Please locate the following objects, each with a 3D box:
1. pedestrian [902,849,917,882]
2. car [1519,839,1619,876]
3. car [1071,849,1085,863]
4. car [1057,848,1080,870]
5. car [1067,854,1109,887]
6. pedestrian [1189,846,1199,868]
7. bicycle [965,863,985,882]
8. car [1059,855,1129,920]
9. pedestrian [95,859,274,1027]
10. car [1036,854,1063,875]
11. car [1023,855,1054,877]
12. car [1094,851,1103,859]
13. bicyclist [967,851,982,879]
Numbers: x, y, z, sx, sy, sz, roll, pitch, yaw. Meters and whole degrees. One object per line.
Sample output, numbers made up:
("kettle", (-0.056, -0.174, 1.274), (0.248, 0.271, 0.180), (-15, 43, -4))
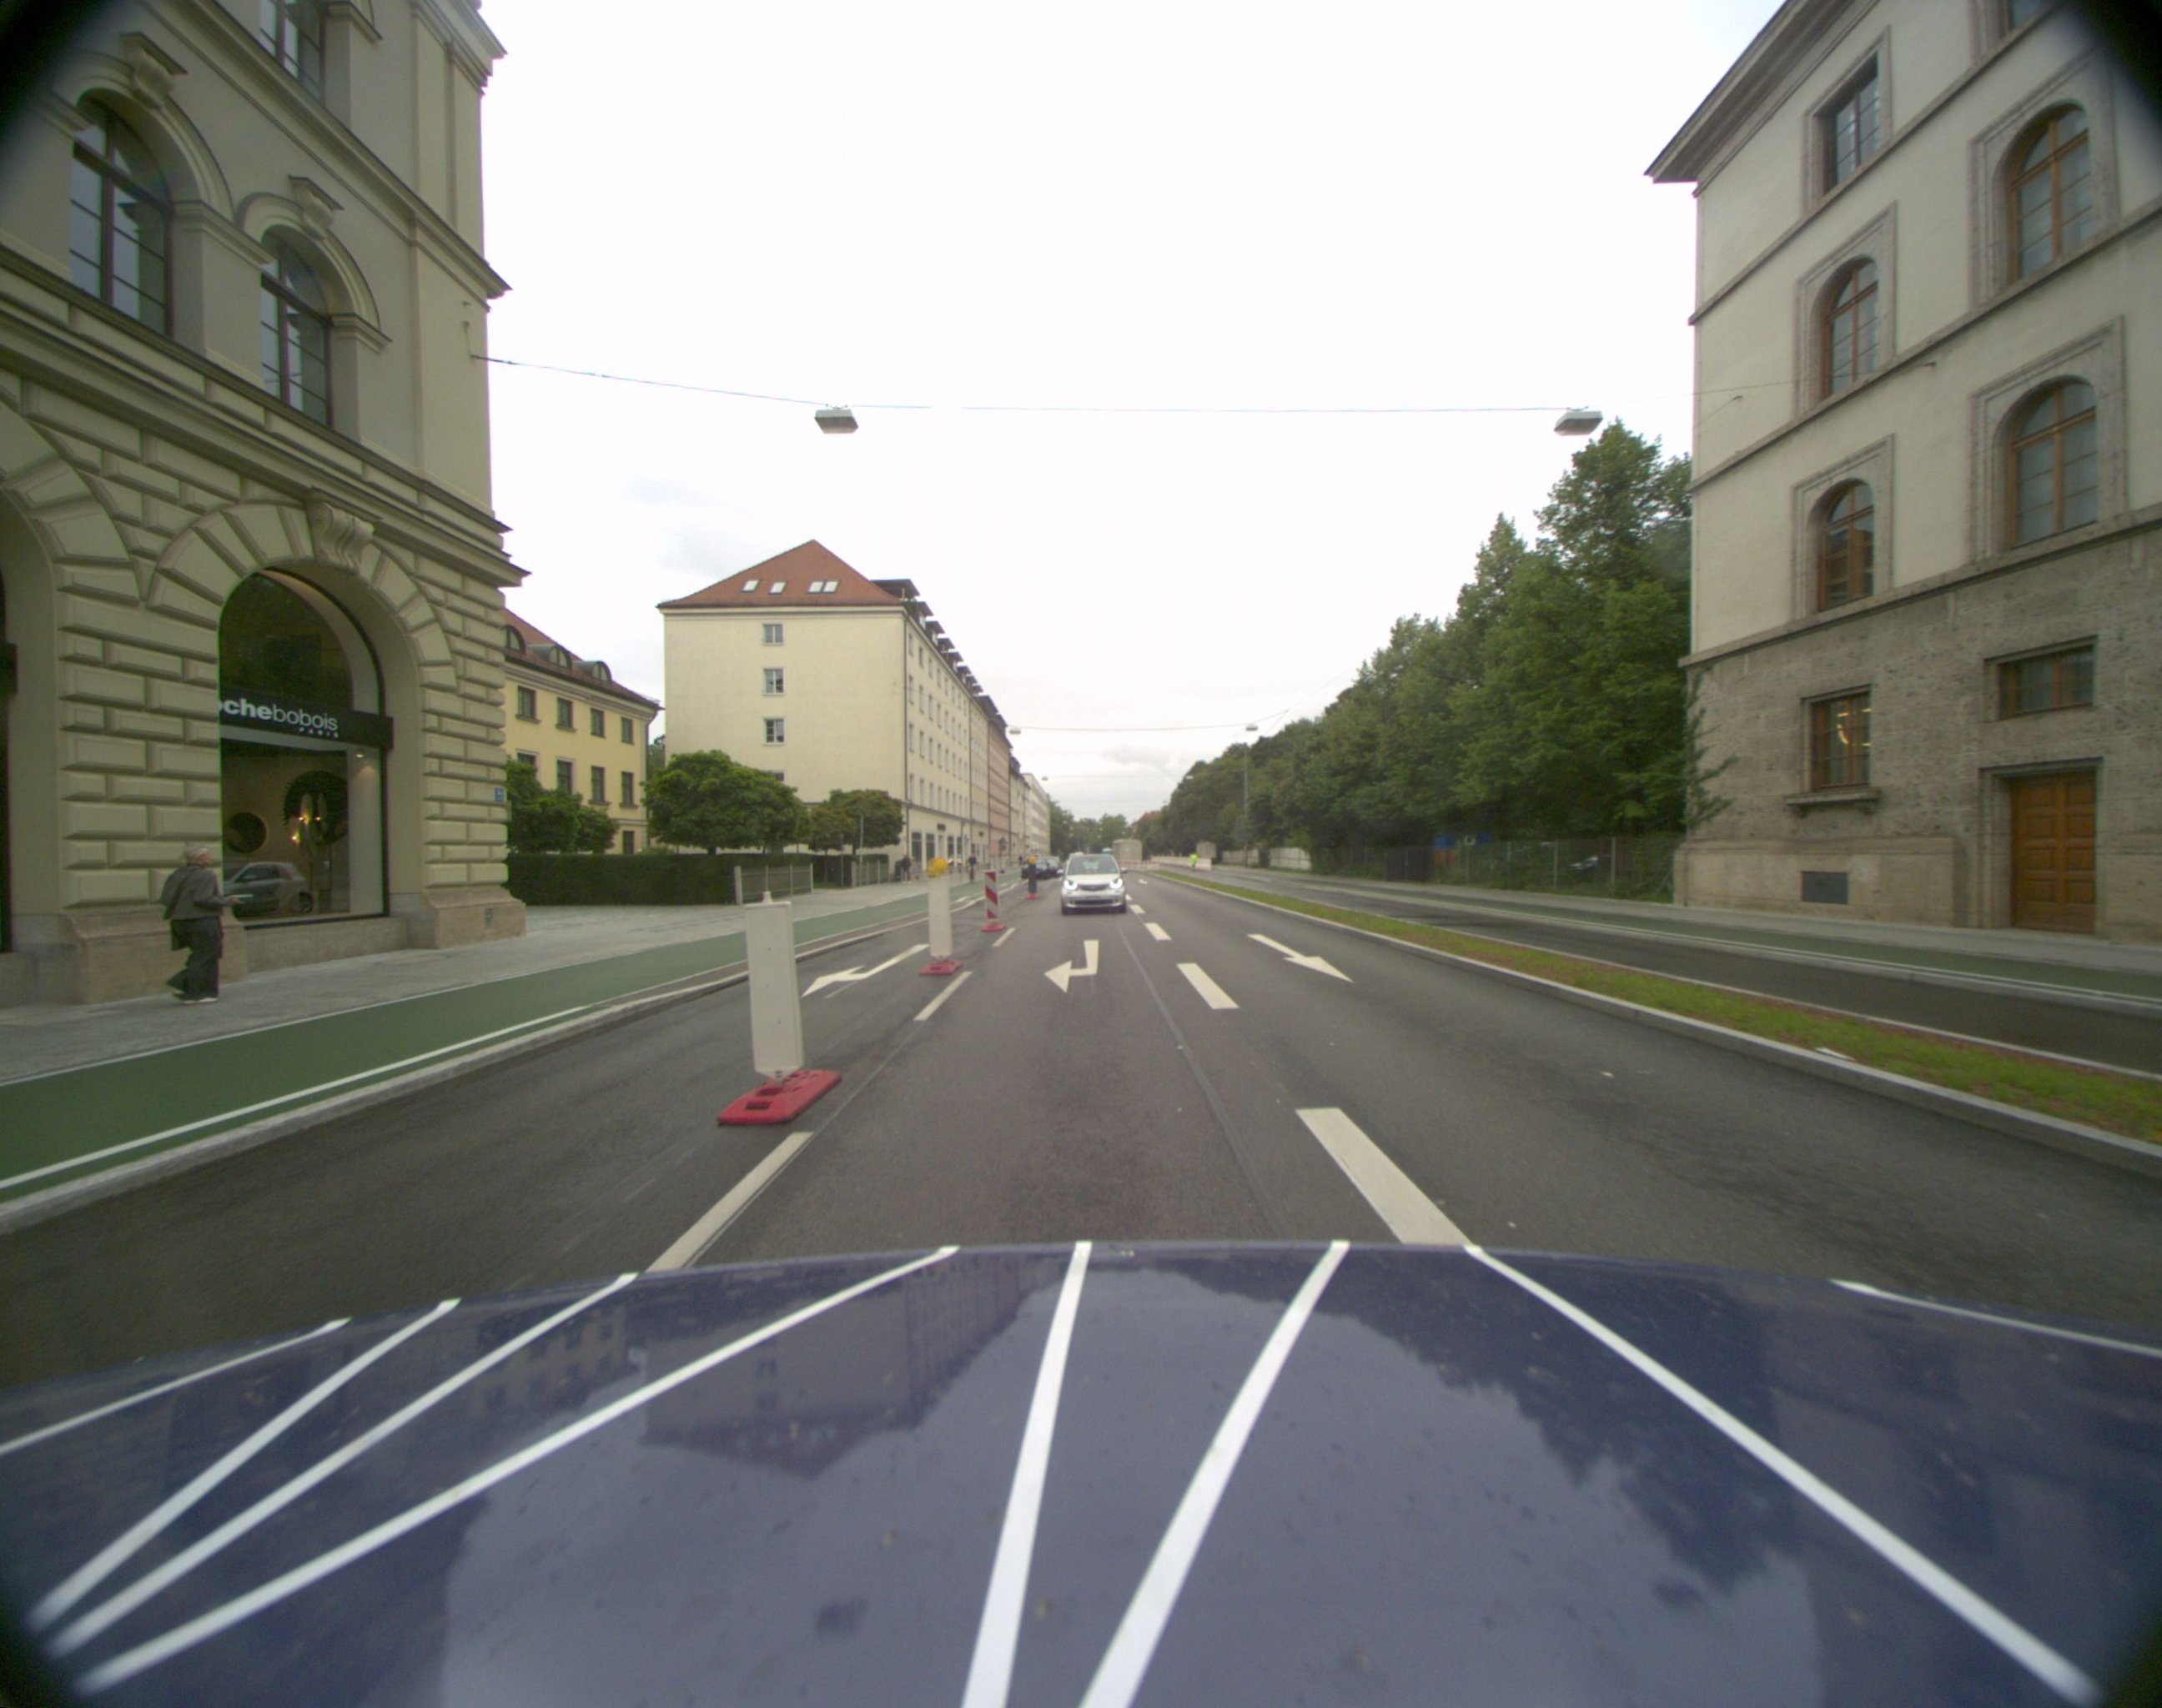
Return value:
("pedestrian", (-9.777, 0.640, 43.352), (0.655, 1.863, 0.826), (1, 1, 1))
("car", (25.447, 0.182, 39.733), (4.036, 1.700, 1.875), (-2, 3, 4))
("car", (-0.421, 0.305, 117.529), (1.998, 2.002, 4.000), (0, 0, 1))
("car", (-1.156, 0.482, 71.626), (1.998, 2.002, 4.000), (0, 0, 0))
("car", (0.341, 0.784, 37.924), (1.922, 1.433, 4.306), (-3, 0, 0))
("pedestrian", (10.685, 0.253, 71.708), (0.757, 2.002, 0.867), (-2, 1, 1))
("bicycle", (-6.159, 1.063, 44.126), (0.751, 1.026, 2.531), (-2, 0, 0))
("car", (0.344, 0.818, 20.201), (1.633, 1.494, 4.000), (-1, 0, 1))
("pedestrian", (-9.676, 0.911, 8.257), (0.634, 1.694, 1.085), (0, 1, 0))
("car", (-2.248, 0.753, 55.362), (1.739, 1.425, 4.000), (-1, 0, 1))
("car", (-2.795, 0.743, 50.189), (1.739, 1.313, 4.000), (-1, 0, 1))
("car", (3.231, 0.154, 141.157), (1.739, 1.425, 4.000), (-1, 0, 1))
("bicyclist", (-6.174, 0.631, 44.110), (0.724, 1.543, 0.858), (-2, 1, 0))
